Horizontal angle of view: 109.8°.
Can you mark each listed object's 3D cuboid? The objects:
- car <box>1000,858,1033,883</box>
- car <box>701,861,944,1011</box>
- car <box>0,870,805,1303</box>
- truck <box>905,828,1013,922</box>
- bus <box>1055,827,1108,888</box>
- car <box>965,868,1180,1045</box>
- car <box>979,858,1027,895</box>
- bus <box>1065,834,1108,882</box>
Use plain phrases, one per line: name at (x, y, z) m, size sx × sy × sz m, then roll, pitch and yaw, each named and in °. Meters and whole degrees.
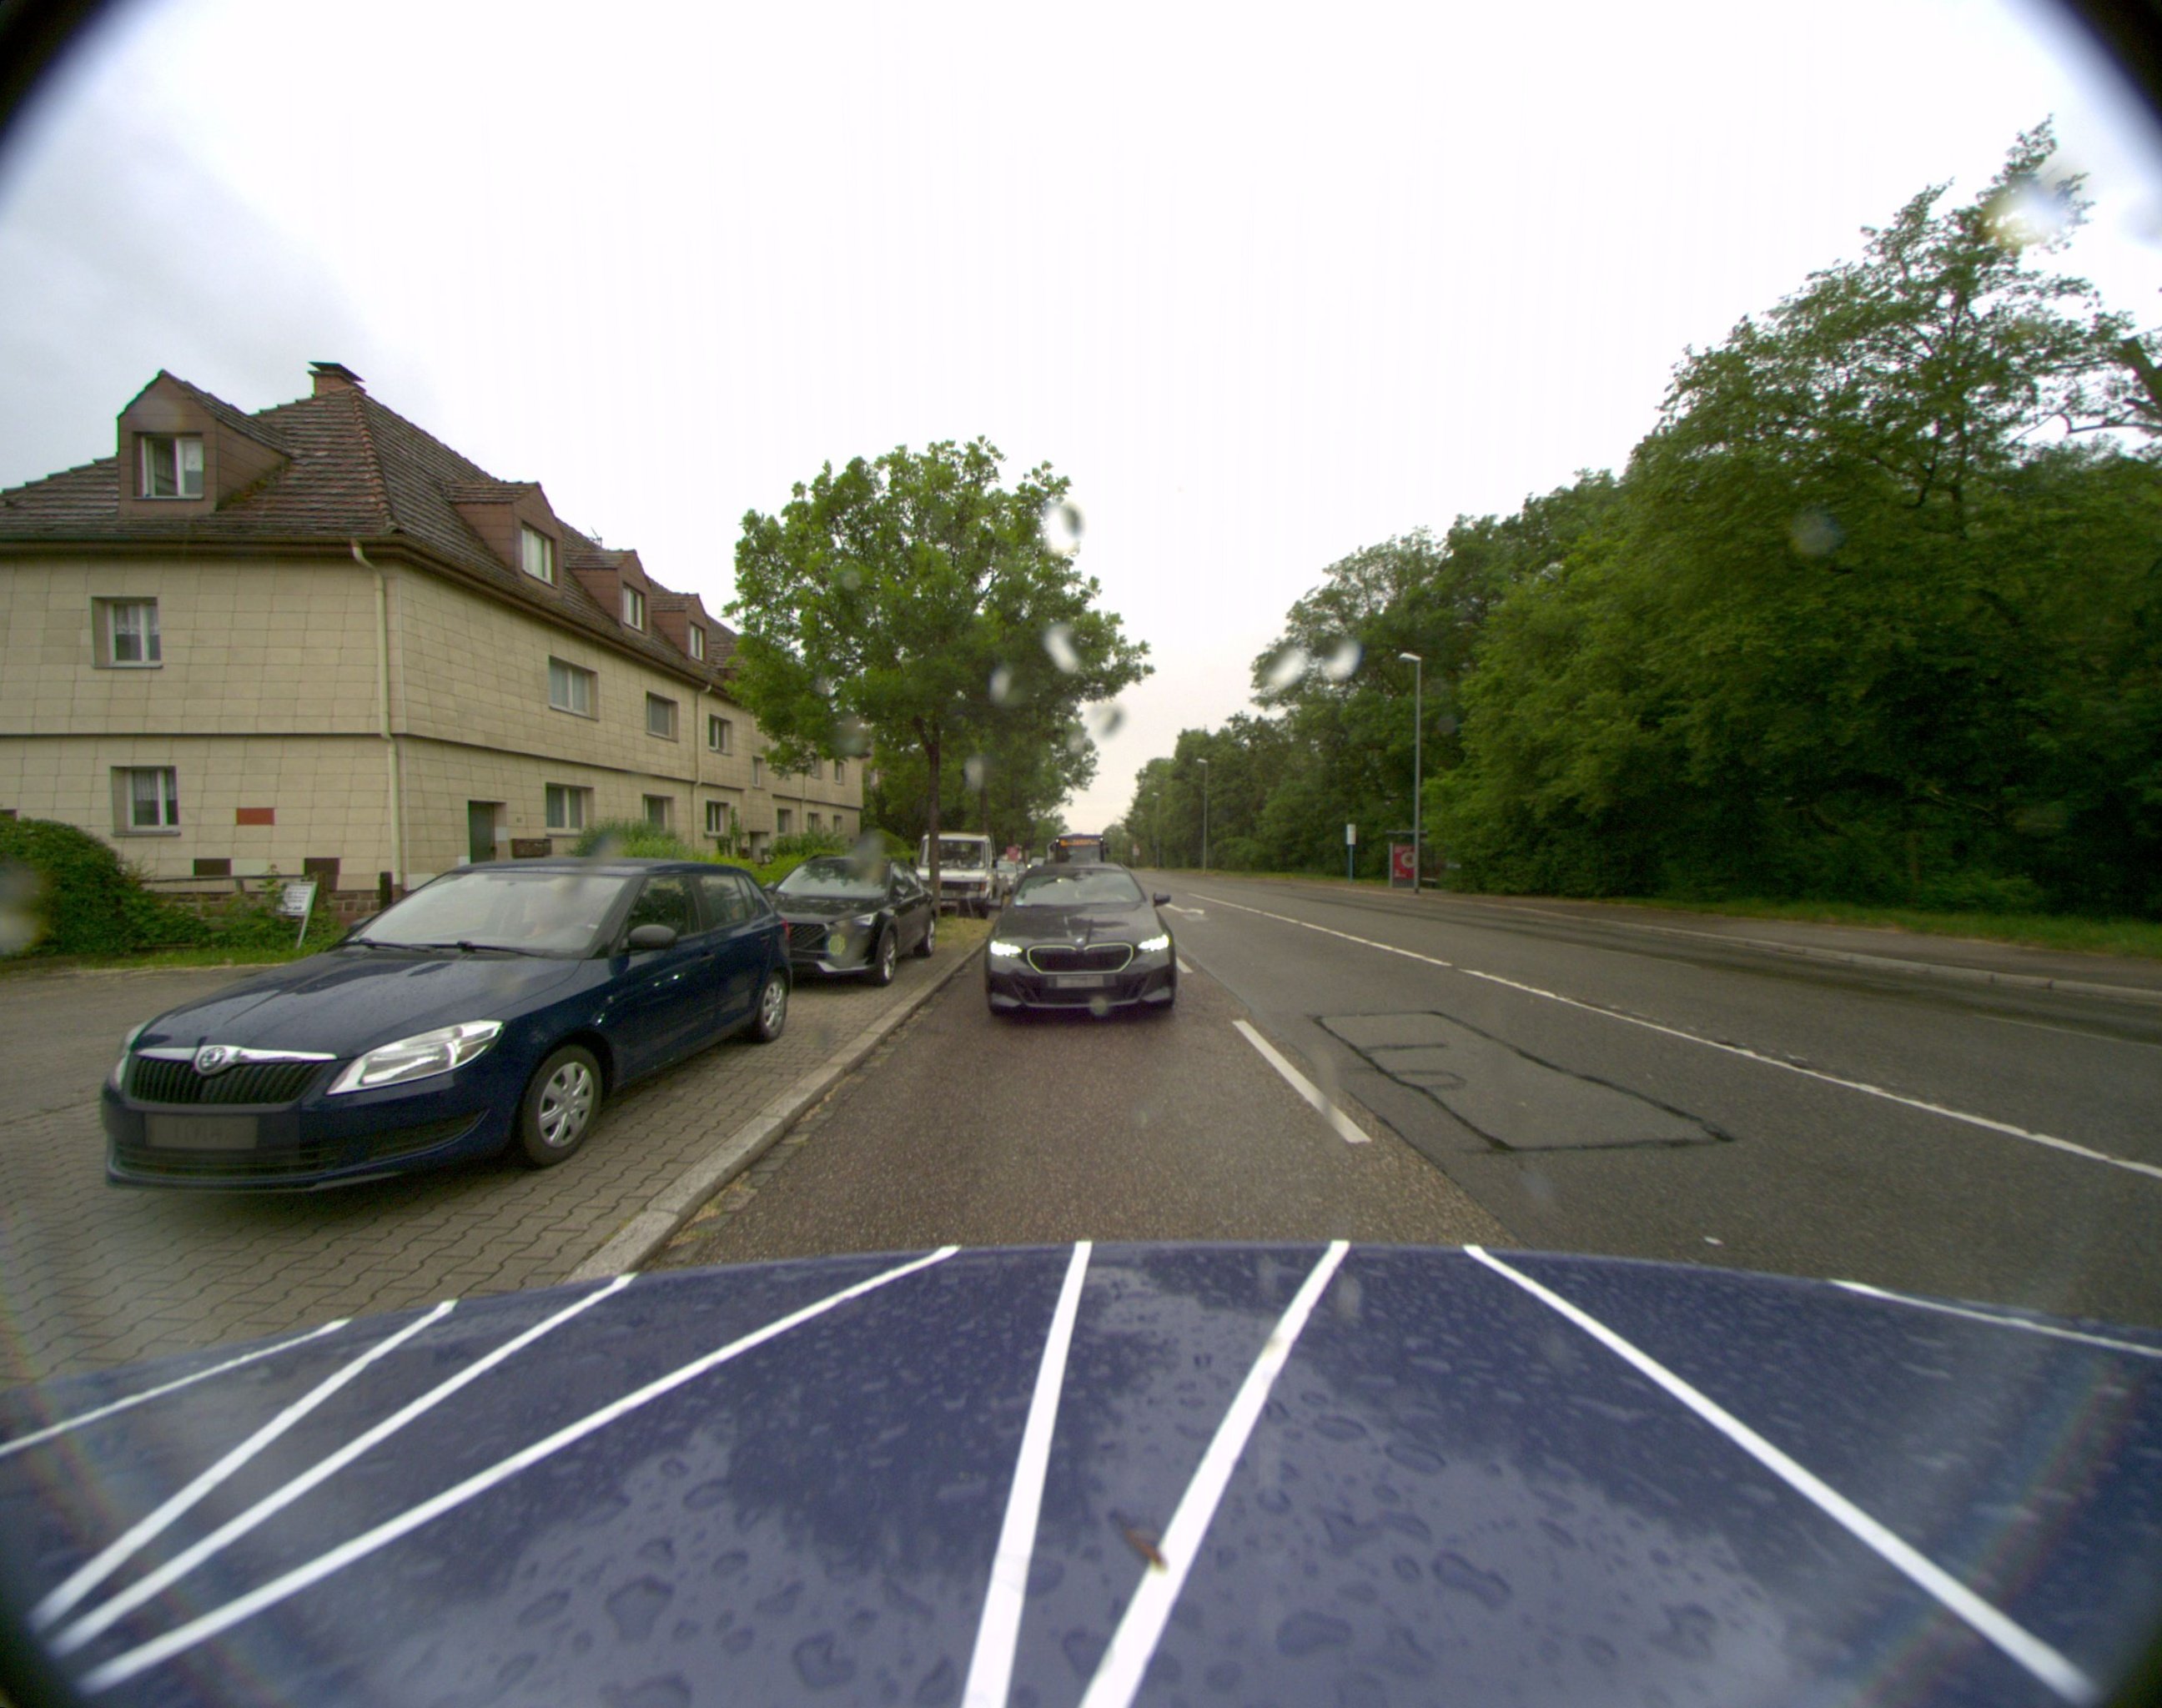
car at (-3.923, 0.990, 46.525) m, size 1.692 × 1.381 × 4.499 m, roll 1°, pitch 0°, yaw -1°
car at (-3.069, 0.874, 10.006) m, size 1.718 × 1.490 × 4.183 m, roll 2°, pitch 0°, yaw 0°
car at (-3.249, 0.875, 4.659) m, size 1.608 × 1.463 × 3.856 m, roll 1°, pitch 0°, yaw 1°
truck at (-3.235, 0.520, 21.623) m, size 2.085 × 2.208 × 6.500 m, roll 2°, pitch 0°, yaw -1°
bus at (0.184, 0.197, 42.136) m, size 2.562 × 2.942 × 9.451 m, roll -1°, pitch 0°, yaw 2°
car at (-0.088, 0.944, 8.943) m, size 1.855 × 1.461 × 4.483 m, roll -1°, pitch 0°, yaw 0°
car at (-3.299, 0.964, 32.714) m, size 1.605 × 1.427 × 4.022 m, roll 2°, pitch -2°, yaw 0°
bus at (0.306, 0.257, 51.036) m, size 2.562 × 2.942 × 8.557 m, roll -1°, pitch 0°, yaw 0°
